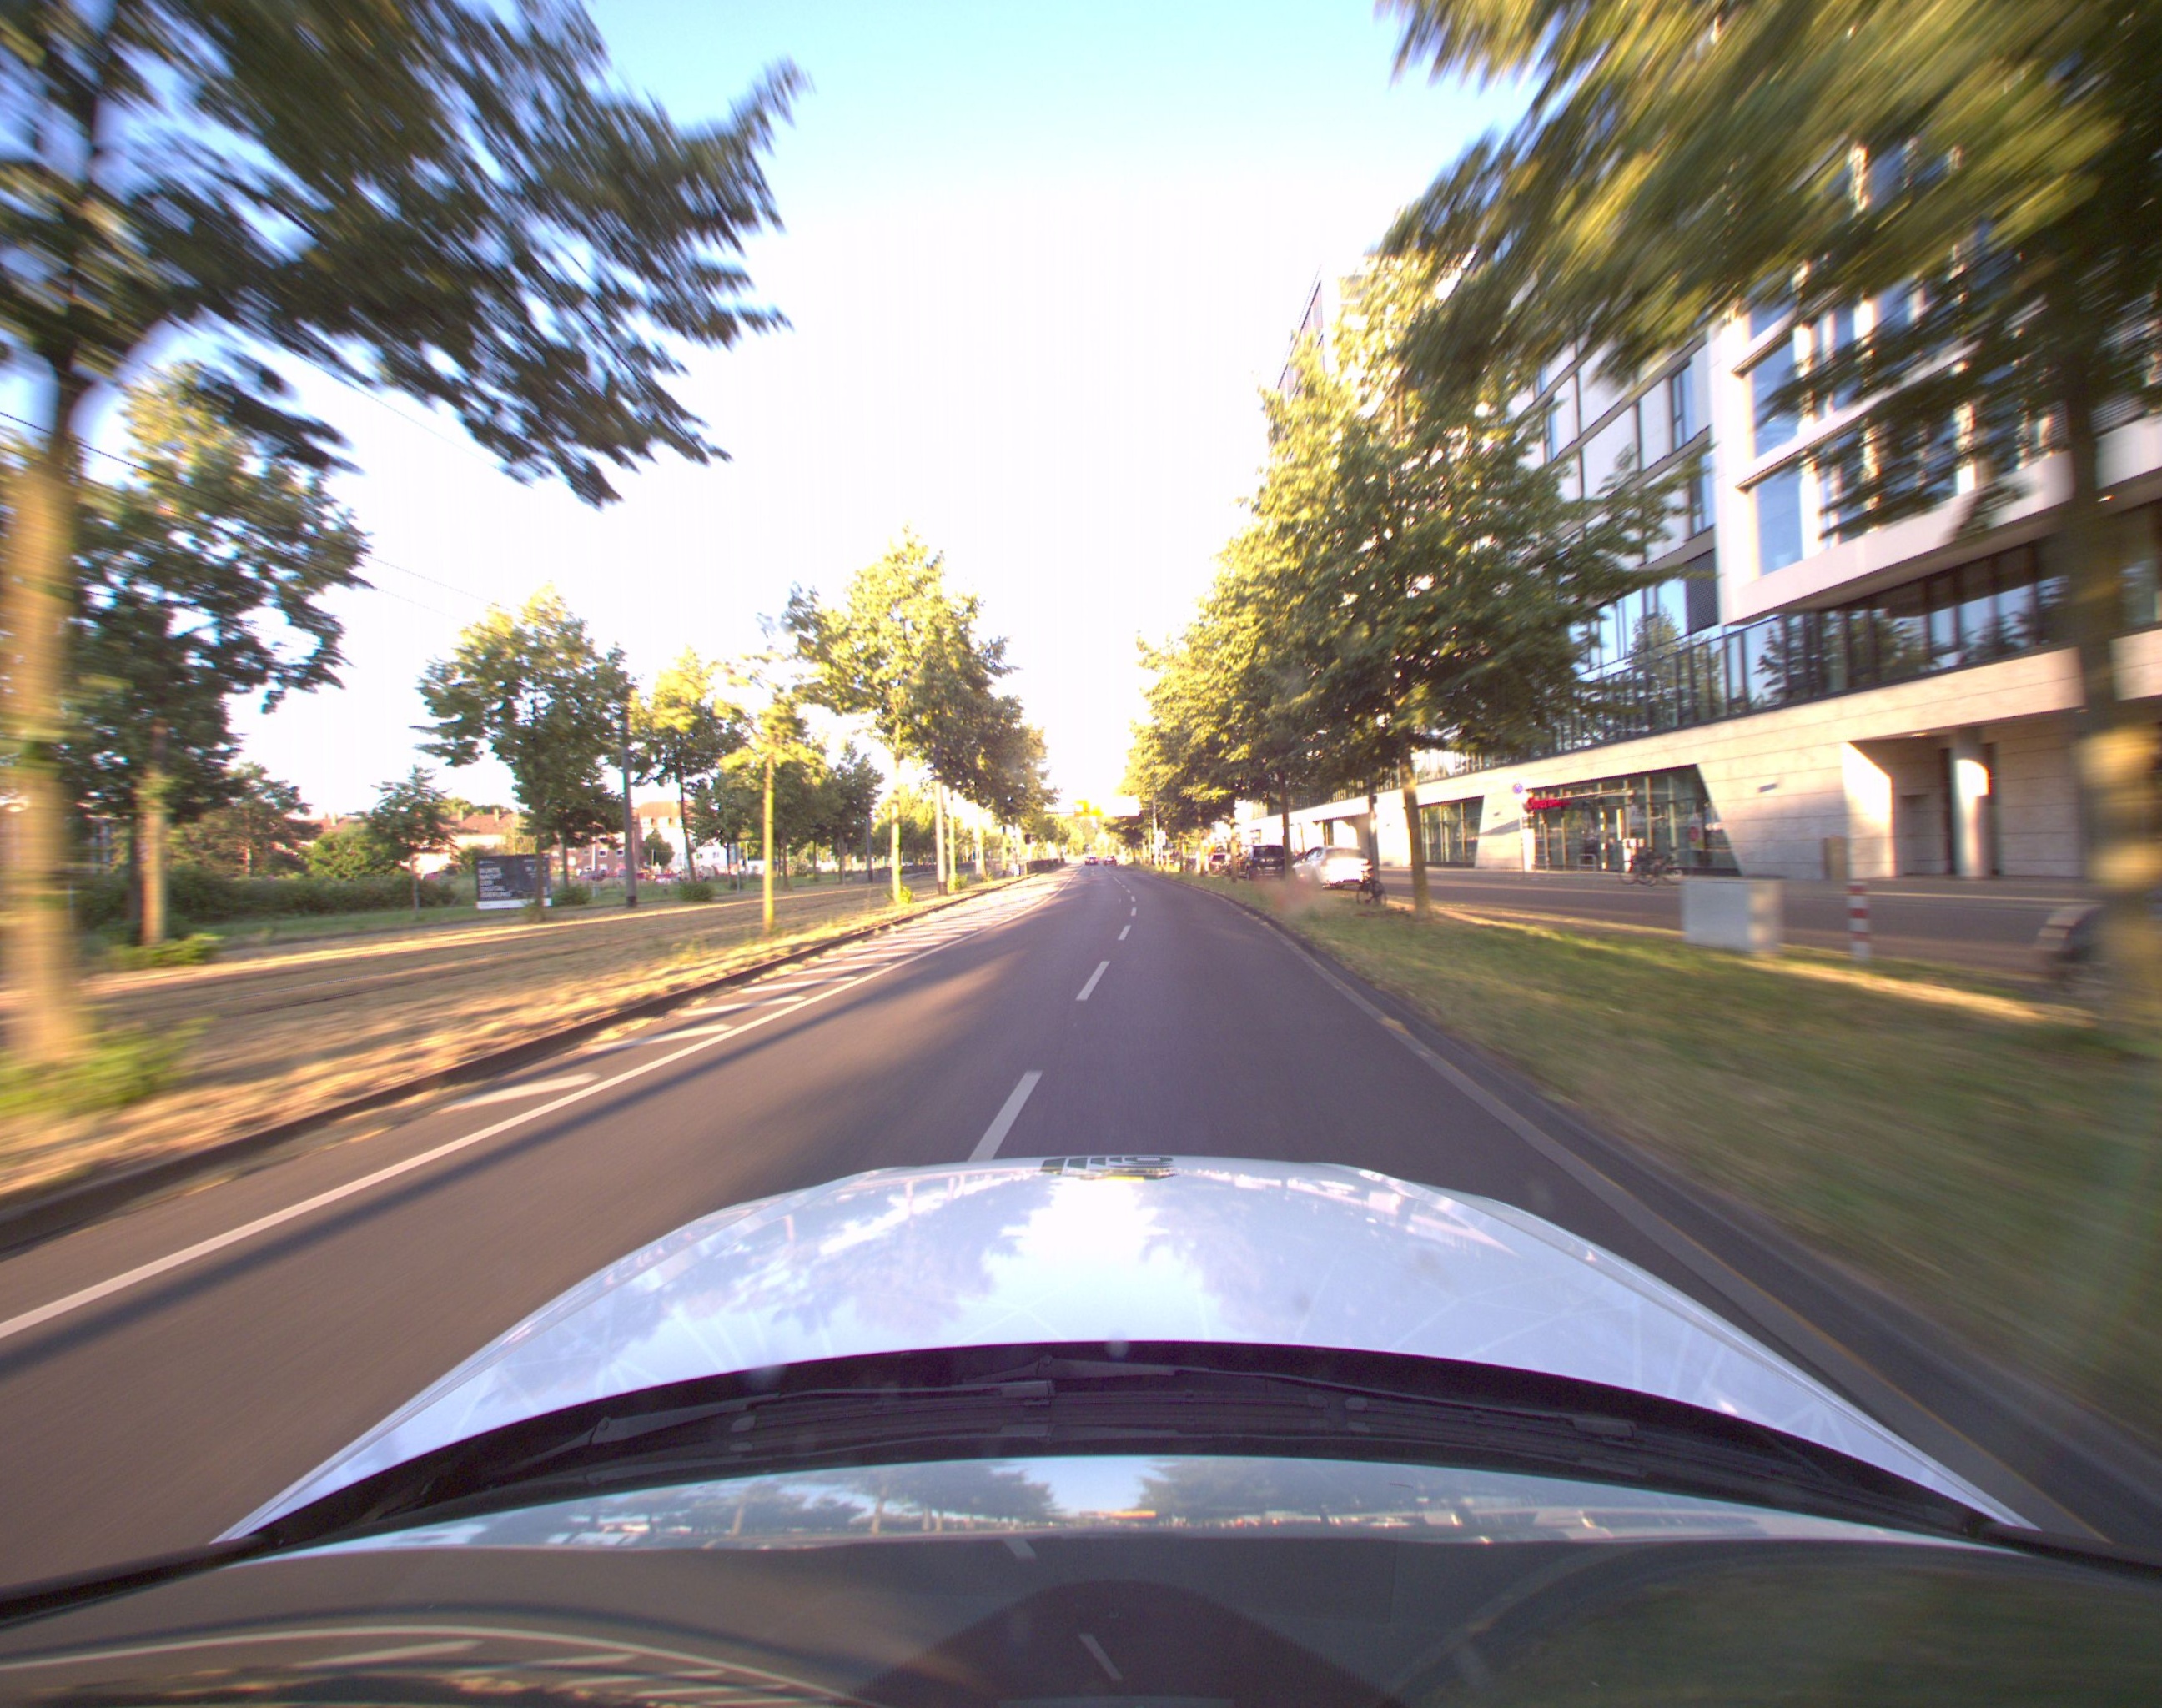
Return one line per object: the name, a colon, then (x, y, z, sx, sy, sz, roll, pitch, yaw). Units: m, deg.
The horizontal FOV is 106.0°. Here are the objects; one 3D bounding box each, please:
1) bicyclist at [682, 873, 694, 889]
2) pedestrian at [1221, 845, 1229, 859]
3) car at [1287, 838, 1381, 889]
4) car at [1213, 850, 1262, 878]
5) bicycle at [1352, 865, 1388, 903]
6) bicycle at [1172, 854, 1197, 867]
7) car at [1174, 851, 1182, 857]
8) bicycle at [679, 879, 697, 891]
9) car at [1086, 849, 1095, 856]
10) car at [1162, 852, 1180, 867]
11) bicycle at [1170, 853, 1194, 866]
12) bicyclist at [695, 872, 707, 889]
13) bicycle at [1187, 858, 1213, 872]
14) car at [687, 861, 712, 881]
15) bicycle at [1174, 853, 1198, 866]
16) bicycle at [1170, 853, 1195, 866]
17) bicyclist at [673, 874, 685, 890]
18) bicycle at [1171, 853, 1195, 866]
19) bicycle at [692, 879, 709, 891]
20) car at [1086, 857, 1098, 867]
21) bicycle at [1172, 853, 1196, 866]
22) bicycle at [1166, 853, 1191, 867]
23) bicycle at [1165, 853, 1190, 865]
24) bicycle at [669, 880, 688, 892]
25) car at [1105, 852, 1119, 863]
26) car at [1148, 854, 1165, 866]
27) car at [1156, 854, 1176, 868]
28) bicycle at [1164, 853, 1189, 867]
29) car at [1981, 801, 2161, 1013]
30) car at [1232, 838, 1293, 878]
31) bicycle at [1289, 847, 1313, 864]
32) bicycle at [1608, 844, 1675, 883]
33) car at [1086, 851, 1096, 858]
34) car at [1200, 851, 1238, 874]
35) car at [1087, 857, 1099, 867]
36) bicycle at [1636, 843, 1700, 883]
bicyclist: (-35.918, 2.440, 74.369, 0.617, 1.456, 0.937, -2, 0, -1)
pedestrian: (18.692, -0.239, 105.532, 0.708, 1.737, 0.683, -2, -1, -30)
car: (9.117, 0.331, 29.801, 1.986, 1.642, 4.880, -2, 0, 1)
car: (9.145, 0.572, 47.965, 1.804, 1.471, 4.662, -2, 0, -1)
bicycle: (6.741, 0.681, 19.051, 0.314, 0.823, 1.553, -3, 0, 2)
bicycle: (8.448, 0.523, 66.592, 1.942, 1.054, 0.543, 1, 0, -11)
car: (26.781, 0.004, 223.944, 1.984, 1.728, 4.005, -2, 0, 4)
bicycle: (-35.891, 2.854, 74.393, 0.617, 1.011, 2.082, -2, 0, -1)
car: (2.271, -0.347, 190.036, 1.906, 1.486, 3.999, -2, 0, 0)
car: (9.638, 0.563, 87.712, 1.569, 1.472, 3.882, -2, 0, 1)
bicycle: (8.625, 0.444, 69.482, 1.940, 1.054, 0.413, 1, 0, -7)
bicyclist: (-34.942, 2.442, 74.896, 0.617, 1.456, 0.937, -2, 0, -1)
bicycle: (9.380, 0.838, 64.007, 1.935, 1.054, 0.545, 1, 0, 0)
car: (-45.378, 2.017, 97.049, 2.426, 2.224, 5.872, -2, 0, -23)
bicycle: (8.772, 0.455, 68.247, 1.940, 1.054, 0.407, 1, 0, -7)
bicycle: (8.960, 0.474, 72.075, 2.139, 1.054, 0.570, 1, 0, -6)
bicyclist: (-35.697, 2.498, 72.326, 0.617, 1.421, 0.937, -2, 0, -1)
bicycle: (8.657, 0.453, 69.027, 1.940, 1.054, 0.347, 1, 0, -7)
bicycle: (-34.932, 2.849, 74.787, 0.617, 1.011, 2.082, -2, 0, -1)
car: (1.878, 1.331, 138.823, 1.906, 1.486, 3.999, -2, 0, 0)
bicycle: (8.585, 0.482, 67.769, 1.940, 1.054, 0.407, 1, 0, -7)
bicycle: (7.794, 0.488, 65.083, 1.944, 1.054, 0.542, 1, 0, -15)
bicycle: (8.778, 0.480, 73.976, 2.139, 1.054, 0.524, 1, 0, -6)
bicycle: (-35.687, 2.846, 72.190, 0.617, 1.011, 2.082, -2, 0, -1)
car: (4.696, 0.511, 123.827, 1.906, 1.486, 3.999, -2, 0, 0)
car: (10.132, 0.810, 110.092, 1.752, 1.466, 4.156, -2, 0, -2)
car: (9.859, 0.822, 94.744, 1.772, 1.472, 4.286, -2, 0, -1)
bicycle: (7.677, 0.497, 65.683, 1.944, 1.054, 0.542, 1, 0, -15)
car: (8.571, 0.376, 5.111, 1.704, 1.515, 3.758, 0, 0, 0)
car: (9.265, 0.205, 42.003, 1.988, 1.852, 4.662, -2, 0, -1)
bicycle: (18.772, 0.107, 69.514, 1.826, 1.357, 0.503, -2, 0, -3)
bicycle: (15.707, 0.252, 22.893, 0.592, 1.039, 1.893, -3, 0, 2)
car: (2.106, 0.169, 174.241, 1.906, 1.486, 3.999, -2, 0, 0)
car: (9.228, 0.584, 54.886, 1.862, 1.411, 4.647, -3, 0, 2)
car: (1.946, 1.284, 132.347, 1.906, 1.486, 3.999, -2, 0, 0)
bicycle: (16.266, 0.244, 22.619, 0.468, 1.039, 1.807, -3, 0, 2)
